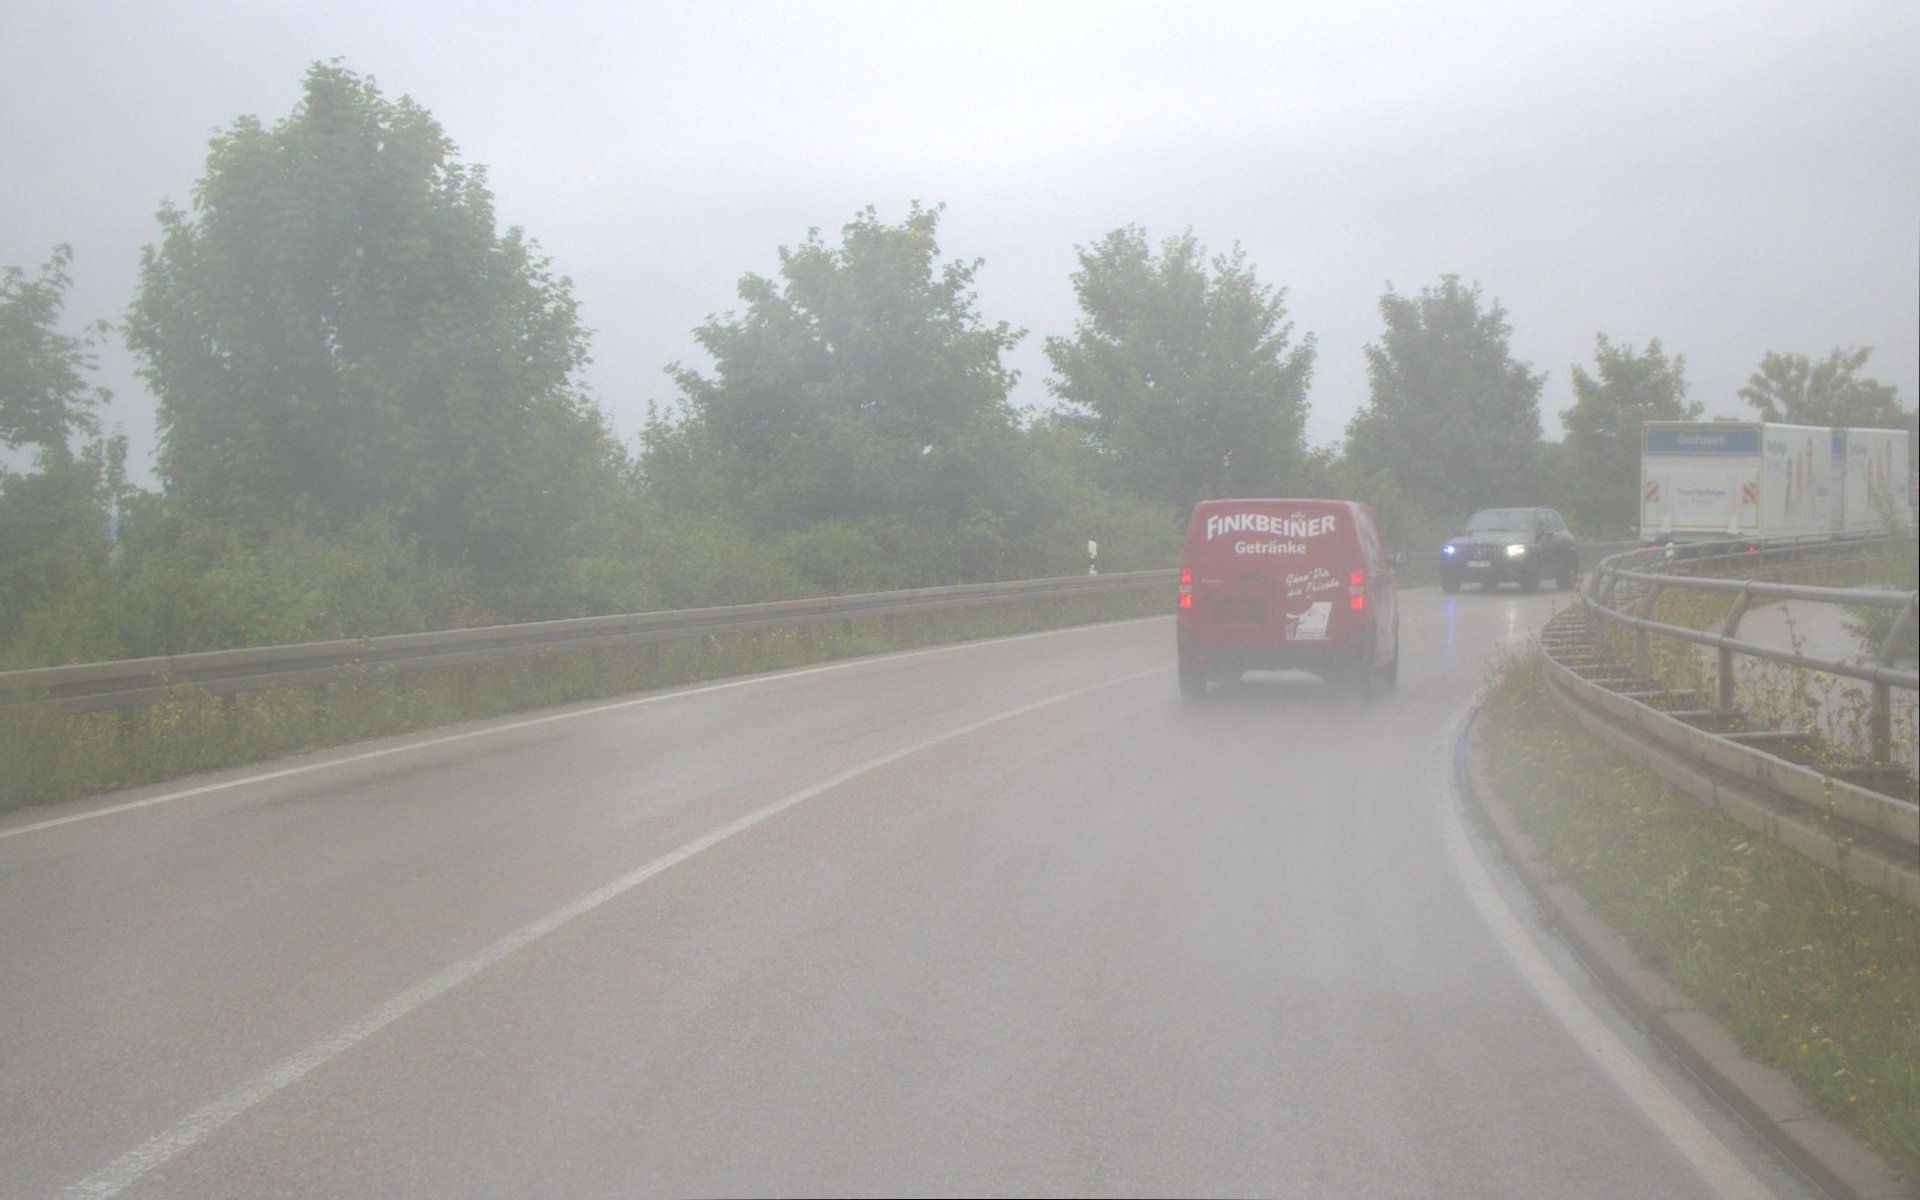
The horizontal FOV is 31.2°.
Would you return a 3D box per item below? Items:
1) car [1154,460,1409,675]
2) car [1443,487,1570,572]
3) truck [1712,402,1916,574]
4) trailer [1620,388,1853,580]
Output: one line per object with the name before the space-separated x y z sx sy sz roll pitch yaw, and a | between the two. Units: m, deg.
car | 3.249 -0.371 34.035 1.994 1.919 4.142 -2 1 12
car | 11.447 -1.477 71.877 1.995 1.721 3.996 0 1 19
truck | 20.677 -2.630 82.848 3.205 3.908 8.728 1 1 24
trailer | 17.027 -2.456 74.875 3.205 3.908 8.728 1 1 24
